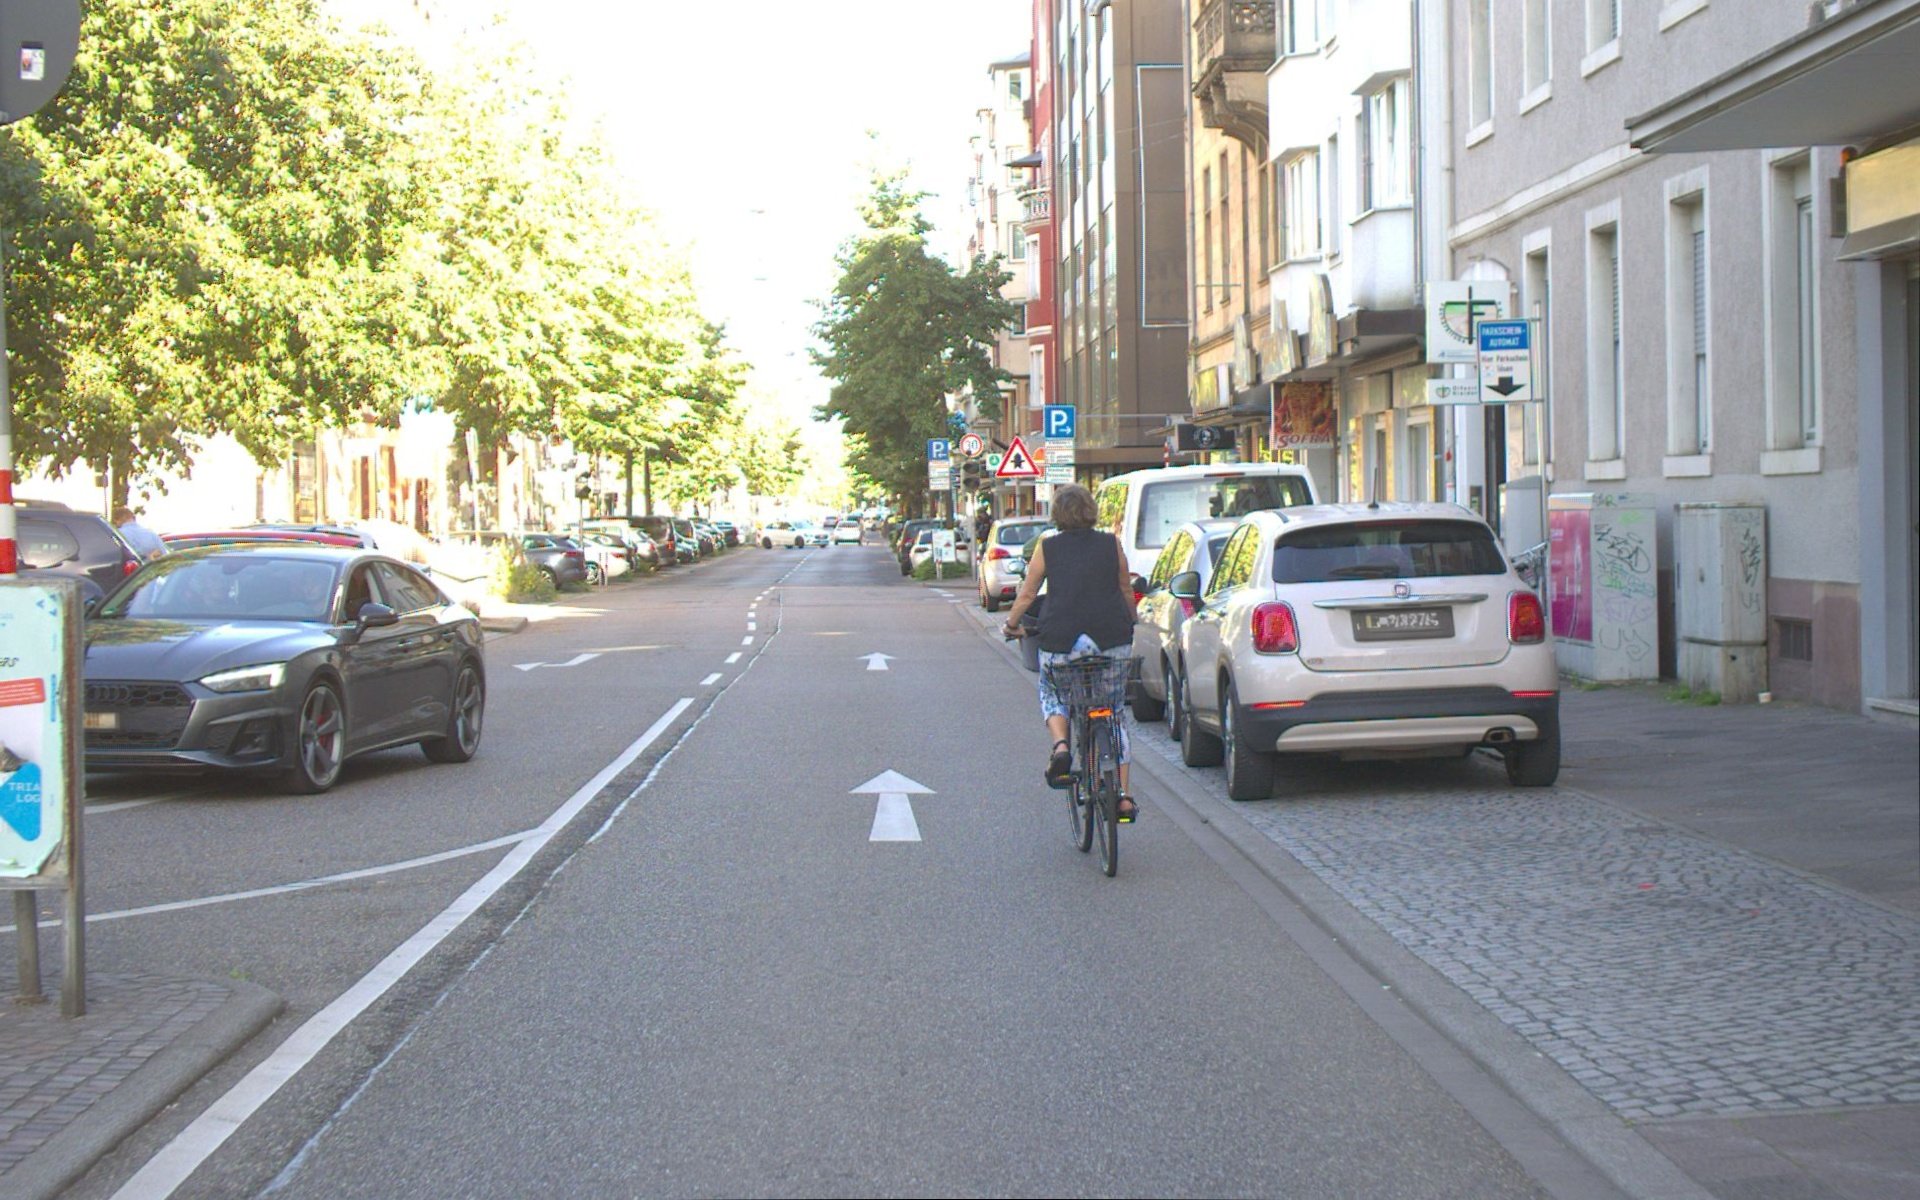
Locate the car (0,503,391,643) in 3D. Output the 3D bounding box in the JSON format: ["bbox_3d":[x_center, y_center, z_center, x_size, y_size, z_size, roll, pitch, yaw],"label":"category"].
[{"bbox_3d":[-8.839,-0.288,37.735,4.833,1.483,1.765,0,1,-22],"label":"car"}]

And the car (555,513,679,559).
[{"bbox_3d":[-11.450,-2.145,115.025,3.986,1.503,2.000,1,1,-1],"label":"car"}]

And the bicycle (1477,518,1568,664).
[{"bbox_3d":[4.778,-0.077,29.141,0.483,1.182,1.718,-3,0,17],"label":"bicycle"}]

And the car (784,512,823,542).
[{"bbox_3d":[-8.495,-3.965,187.185,1.993,1.550,4.000,1,1,-1],"label":"car"}]

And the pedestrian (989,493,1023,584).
[{"bbox_3d":[0.880,-1.167,65.715,0.614,1.729,0.634,1,0,0],"label":"pedestrian"}]

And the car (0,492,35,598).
[{"bbox_3d":[-18.654,-0.955,58.519,5.263,1.793,2.164,0,1,-28],"label":"car"}]

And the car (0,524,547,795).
[{"bbox_3d":[-4.136,0.286,20.566,1.912,1.412,4.808,1,1,11],"label":"car"}]

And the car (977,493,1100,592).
[{"bbox_3d":[1.352,-1.008,60.959,1.899,1.669,4.825,1,1,-2],"label":"car"}]

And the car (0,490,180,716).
[{"bbox_3d":[-8.037,-0.011,26.071,3.986,1.662,2.001,0,2,-17],"label":"car"}]

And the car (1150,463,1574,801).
[{"bbox_3d":[2.217,0.142,20.236,1.745,1.733,4.961,1,1,-2],"label":"car"}]

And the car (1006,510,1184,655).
[{"bbox_3d":[1.512,-0.212,39.687,1.718,1.510,3.583,-3,1,-2],"label":"car"}]

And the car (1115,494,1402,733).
[{"bbox_3d":[2.102,0.071,25.145,1.699,1.598,3.757,-1,1,-1],"label":"car"}]

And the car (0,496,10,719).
[{"bbox_3d":[-8.422,0.034,22.210,3.987,1.464,1.874,0,1,-36],"label":"car"}]

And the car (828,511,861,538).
[{"bbox_3d":[-6.883,-4.472,205.274,1.870,1.550,4.000,1,1,-1],"label":"car"}]

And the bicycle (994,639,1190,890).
[{"bbox_3d":[0.550,0.681,15.291,0.652,0.955,2.698,1,1,-2],"label":"bicycle"}]

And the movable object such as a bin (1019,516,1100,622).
[{"bbox_3d":[1.466,-0.465,50.344,1.073,1.452,1.492,-3,2,3],"label":"movable object such as a bin"}]

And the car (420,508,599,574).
[{"bbox_3d":[-10.668,-1.398,81.631,3.987,1.503,2.000,1,1,-1],"label":"car"}]

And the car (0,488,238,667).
[{"bbox_3d":[-8.803,-0.216,31.733,3.986,1.592,1.750,0,0,-5],"label":"car"}]

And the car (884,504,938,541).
[{"bbox_3d":[-1.928,-3.031,134.370,1.993,1.448,4.001,0,1,-2],"label":"car"}]

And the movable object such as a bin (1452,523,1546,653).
[{"bbox_3d":[4.886,-0.111,31.196,0.768,1.157,0.578,1,0,1],"label":"movable object such as a bin"}]

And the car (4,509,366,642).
[{"bbox_3d":[-9.642,-0.297,42.845,3.987,1.580,1.831,1,1,-33],"label":"car"}]

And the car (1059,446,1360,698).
[{"bbox_3d":[2.076,-0.306,30.123,1.993,1.998,5.118,-1,2,-3],"label":"car"}]

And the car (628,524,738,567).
[{"bbox_3d":[-10.658,-2.095,132.582,3.987,1.503,2.000,2,1,2],"label":"car"}]

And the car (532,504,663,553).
[{"bbox_3d":[-11.623,-2.294,110.395,3.987,1.503,1.895,1,1,-1],"label":"car"}]

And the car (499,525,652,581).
[{"bbox_3d":[-10.529,-1.295,94.304,3.987,1.503,2.000,1,1,-1],"label":"car"}]

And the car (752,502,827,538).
[{"bbox_3d":[-9.714,-4.564,196.359,3.988,2.007,1.999,0,1,8],"label":"car"}]

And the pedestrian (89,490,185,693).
[{"bbox_3d":[-6.734,-0.072,28.157,0.699,1.644,0.646,0,0,-8],"label":"pedestrian"}]

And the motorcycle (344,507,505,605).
[{"bbox_3d":[-9.068,-0.746,58.268,2.474,1.599,0.999,-1,1,17],"label":"motorcycle"}]

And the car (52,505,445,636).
[{"bbox_3d":[-8.407,-0.340,40.699,4.221,1.472,1.736,1,1,-29],"label":"car"}]

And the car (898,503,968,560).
[{"bbox_3d":[-0.780,-2.010,101.976,1.993,1.612,4.010,1,1,1],"label":"car"}]

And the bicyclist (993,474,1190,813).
[{"bbox_3d":[0.570,0.182,15.315,0.786,1.448,1.096,1,0,-2],"label":"bicyclist"}]
